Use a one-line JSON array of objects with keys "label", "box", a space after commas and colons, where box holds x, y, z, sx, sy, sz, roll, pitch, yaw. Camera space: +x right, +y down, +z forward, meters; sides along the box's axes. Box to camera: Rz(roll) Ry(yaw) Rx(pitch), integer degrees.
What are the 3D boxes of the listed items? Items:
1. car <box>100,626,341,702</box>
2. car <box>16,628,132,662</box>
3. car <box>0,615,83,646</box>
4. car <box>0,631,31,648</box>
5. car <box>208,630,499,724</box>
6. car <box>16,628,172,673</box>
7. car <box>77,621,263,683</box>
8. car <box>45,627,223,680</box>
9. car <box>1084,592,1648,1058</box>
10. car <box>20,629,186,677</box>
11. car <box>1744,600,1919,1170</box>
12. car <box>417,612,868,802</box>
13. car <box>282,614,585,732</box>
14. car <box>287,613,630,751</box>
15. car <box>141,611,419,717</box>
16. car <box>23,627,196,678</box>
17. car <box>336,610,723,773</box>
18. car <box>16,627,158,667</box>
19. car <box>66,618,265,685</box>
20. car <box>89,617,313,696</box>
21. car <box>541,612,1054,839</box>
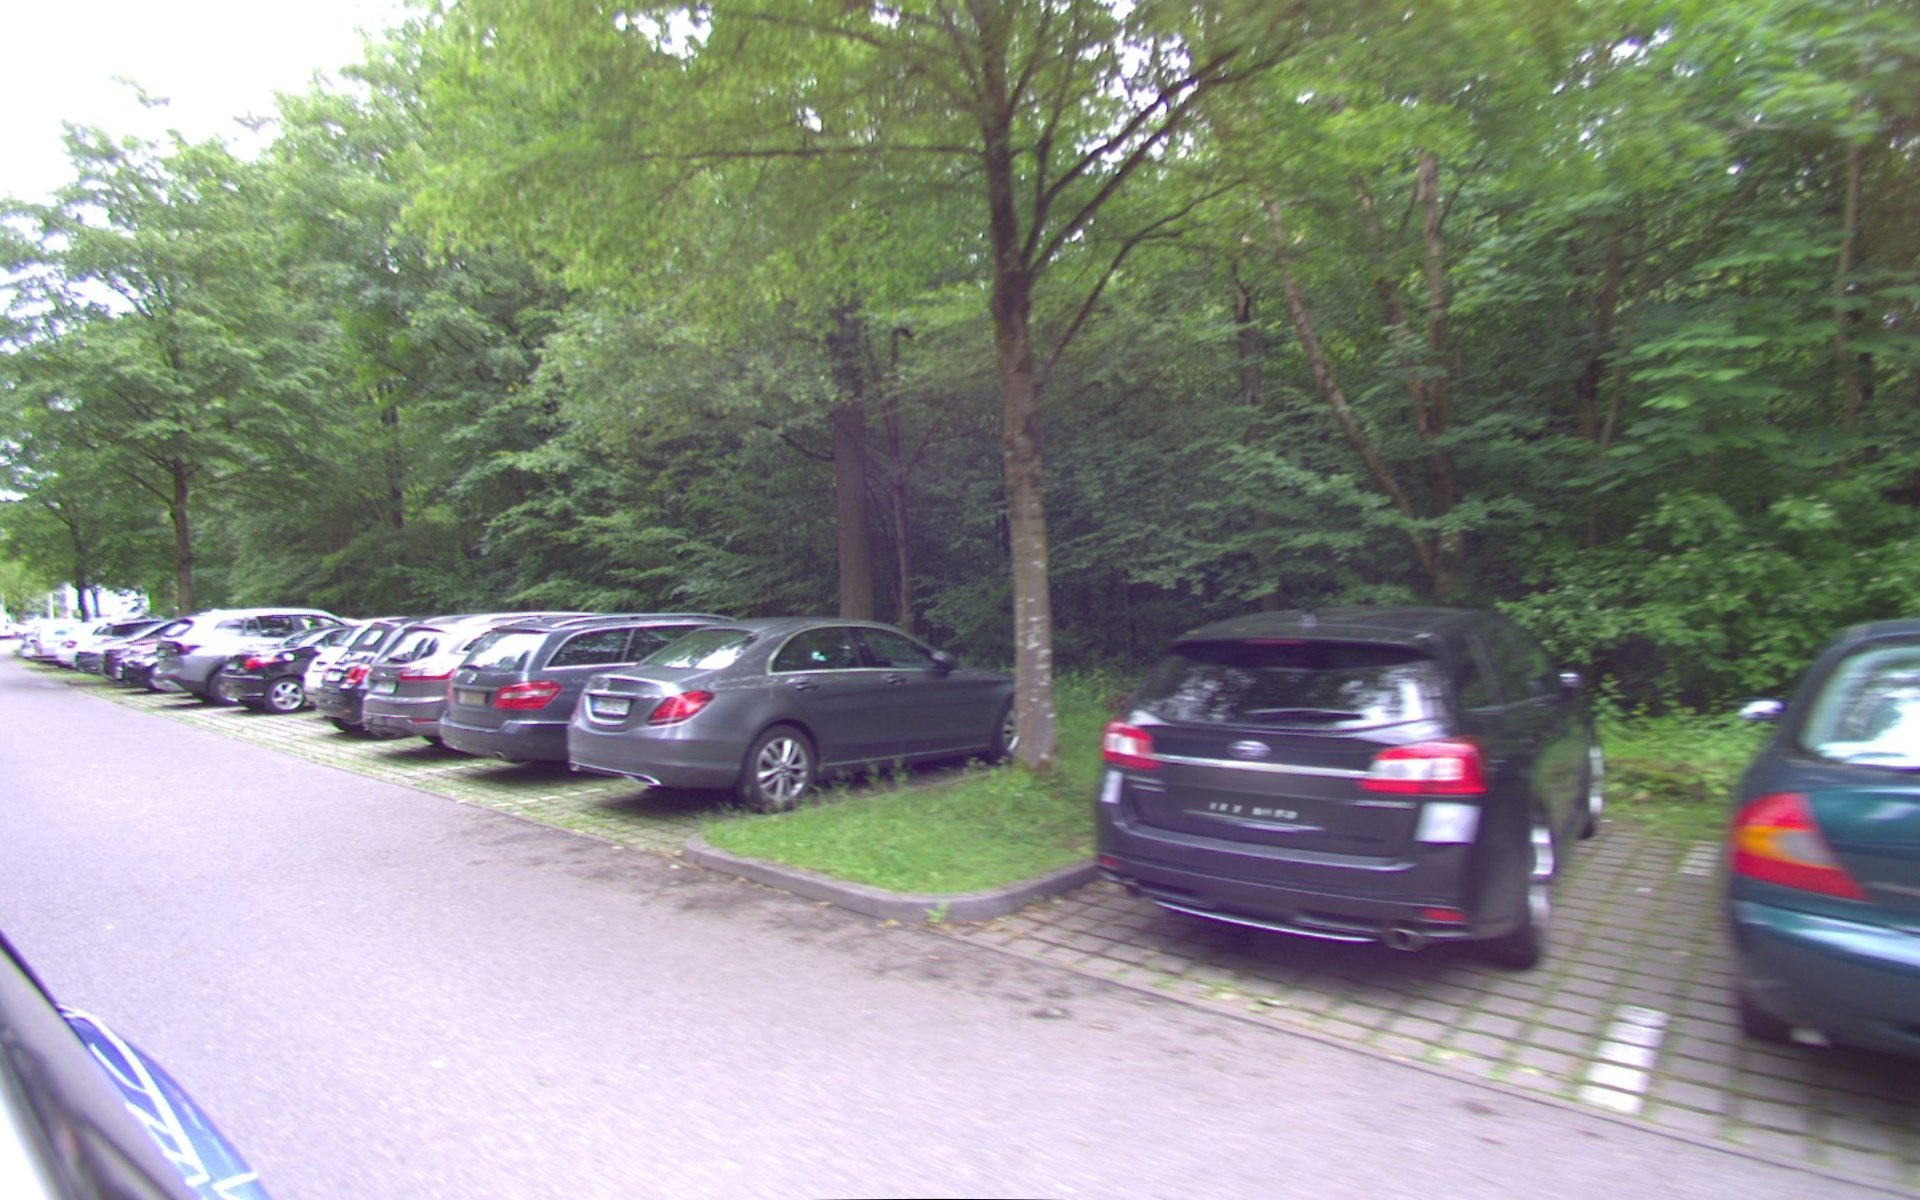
[{"label": "car", "box": [-16.089, 1.330, 22.187, 1.711, 1.500, 3.950, -2, -2, 37]}, {"label": "car", "box": [-42.263, 2.120, 48.401, 3.933, 1.431, 1.786, -1, 0, -33]}, {"label": "car", "box": [-46.223, 1.514, 50.144, 3.933, 1.431, 1.786, -1, 0, -33]}, {"label": "car", "box": [-76.615, 3.177, 81.278, 1.743, 1.325, 3.903, -1, 0, -23]}, {"label": "car", "box": [-10.259, 1.224, 17.390, 1.710, 1.381, 3.952, -1, -2, 35]}, {"label": "car", "box": [-30.647, 1.753, 35.901, 1.711, 1.489, 3.950, -2, -2, 37]}, {"label": "car", "box": [-22.882, 1.460, 29.440, 1.711, 1.684, 3.950, -2, -2, 37]}, {"label": "car", "box": [-25.251, 1.602, 31.056, 1.711, 1.489, 3.950, -2, -2, 37]}, {"label": "car", "box": [2.426, 0.721, 5.334, 1.739, 1.453, 3.949, -1, 0, 38]}, {"label": "car", "box": [-28.473, 1.720, 33.738, 1.711, 1.489, 3.950, -2, -2, 37]}, {"label": "car", "box": [4.114, 0.714, 3.721, 1.740, 1.432, 3.946, -2, -1, 40]}, {"label": "car", "box": [-3.085, 0.918, 10.532, 1.816, 1.549, 4.168, -2, -1, 40]}, {"label": "car", "box": [-8.230, 1.054, 16.150, 1.710, 1.528, 3.953, -1, 0, 35]}, {"label": "car", "box": [-6.802, 1.008, 14.103, 1.710, 1.528, 3.953, -1, 0, 35]}, {"label": "car", "box": [-12.470, 1.103, 18.781, 1.711, 1.740, 3.950, -2, -2, 37]}, {"label": "car", "box": [-27.113, 1.629, 32.375, 1.711, 1.489, 3.950, -2, -2, 37]}, {"label": "car", "box": [-4.940, 0.937, 12.105, 1.710, 1.528, 3.953, -1, 0, 35]}, {"label": "car", "box": [-34.154, 1.809, 39.685, 1.711, 1.489, 3.950, -2, -2, 37]}, {"label": "car", "box": [-21.513, 1.332, 27.530, 1.711, 1.684, 3.950, -2, -2, 37]}, {"label": "car", "box": [-17.961, 1.281, 24.109, 1.711, 1.722, 3.950, -2, -2, 37]}, {"label": "car", "box": [-1.197, 0.863, 8.810, 1.818, 1.467, 4.164, -2, -2, 44]}]
